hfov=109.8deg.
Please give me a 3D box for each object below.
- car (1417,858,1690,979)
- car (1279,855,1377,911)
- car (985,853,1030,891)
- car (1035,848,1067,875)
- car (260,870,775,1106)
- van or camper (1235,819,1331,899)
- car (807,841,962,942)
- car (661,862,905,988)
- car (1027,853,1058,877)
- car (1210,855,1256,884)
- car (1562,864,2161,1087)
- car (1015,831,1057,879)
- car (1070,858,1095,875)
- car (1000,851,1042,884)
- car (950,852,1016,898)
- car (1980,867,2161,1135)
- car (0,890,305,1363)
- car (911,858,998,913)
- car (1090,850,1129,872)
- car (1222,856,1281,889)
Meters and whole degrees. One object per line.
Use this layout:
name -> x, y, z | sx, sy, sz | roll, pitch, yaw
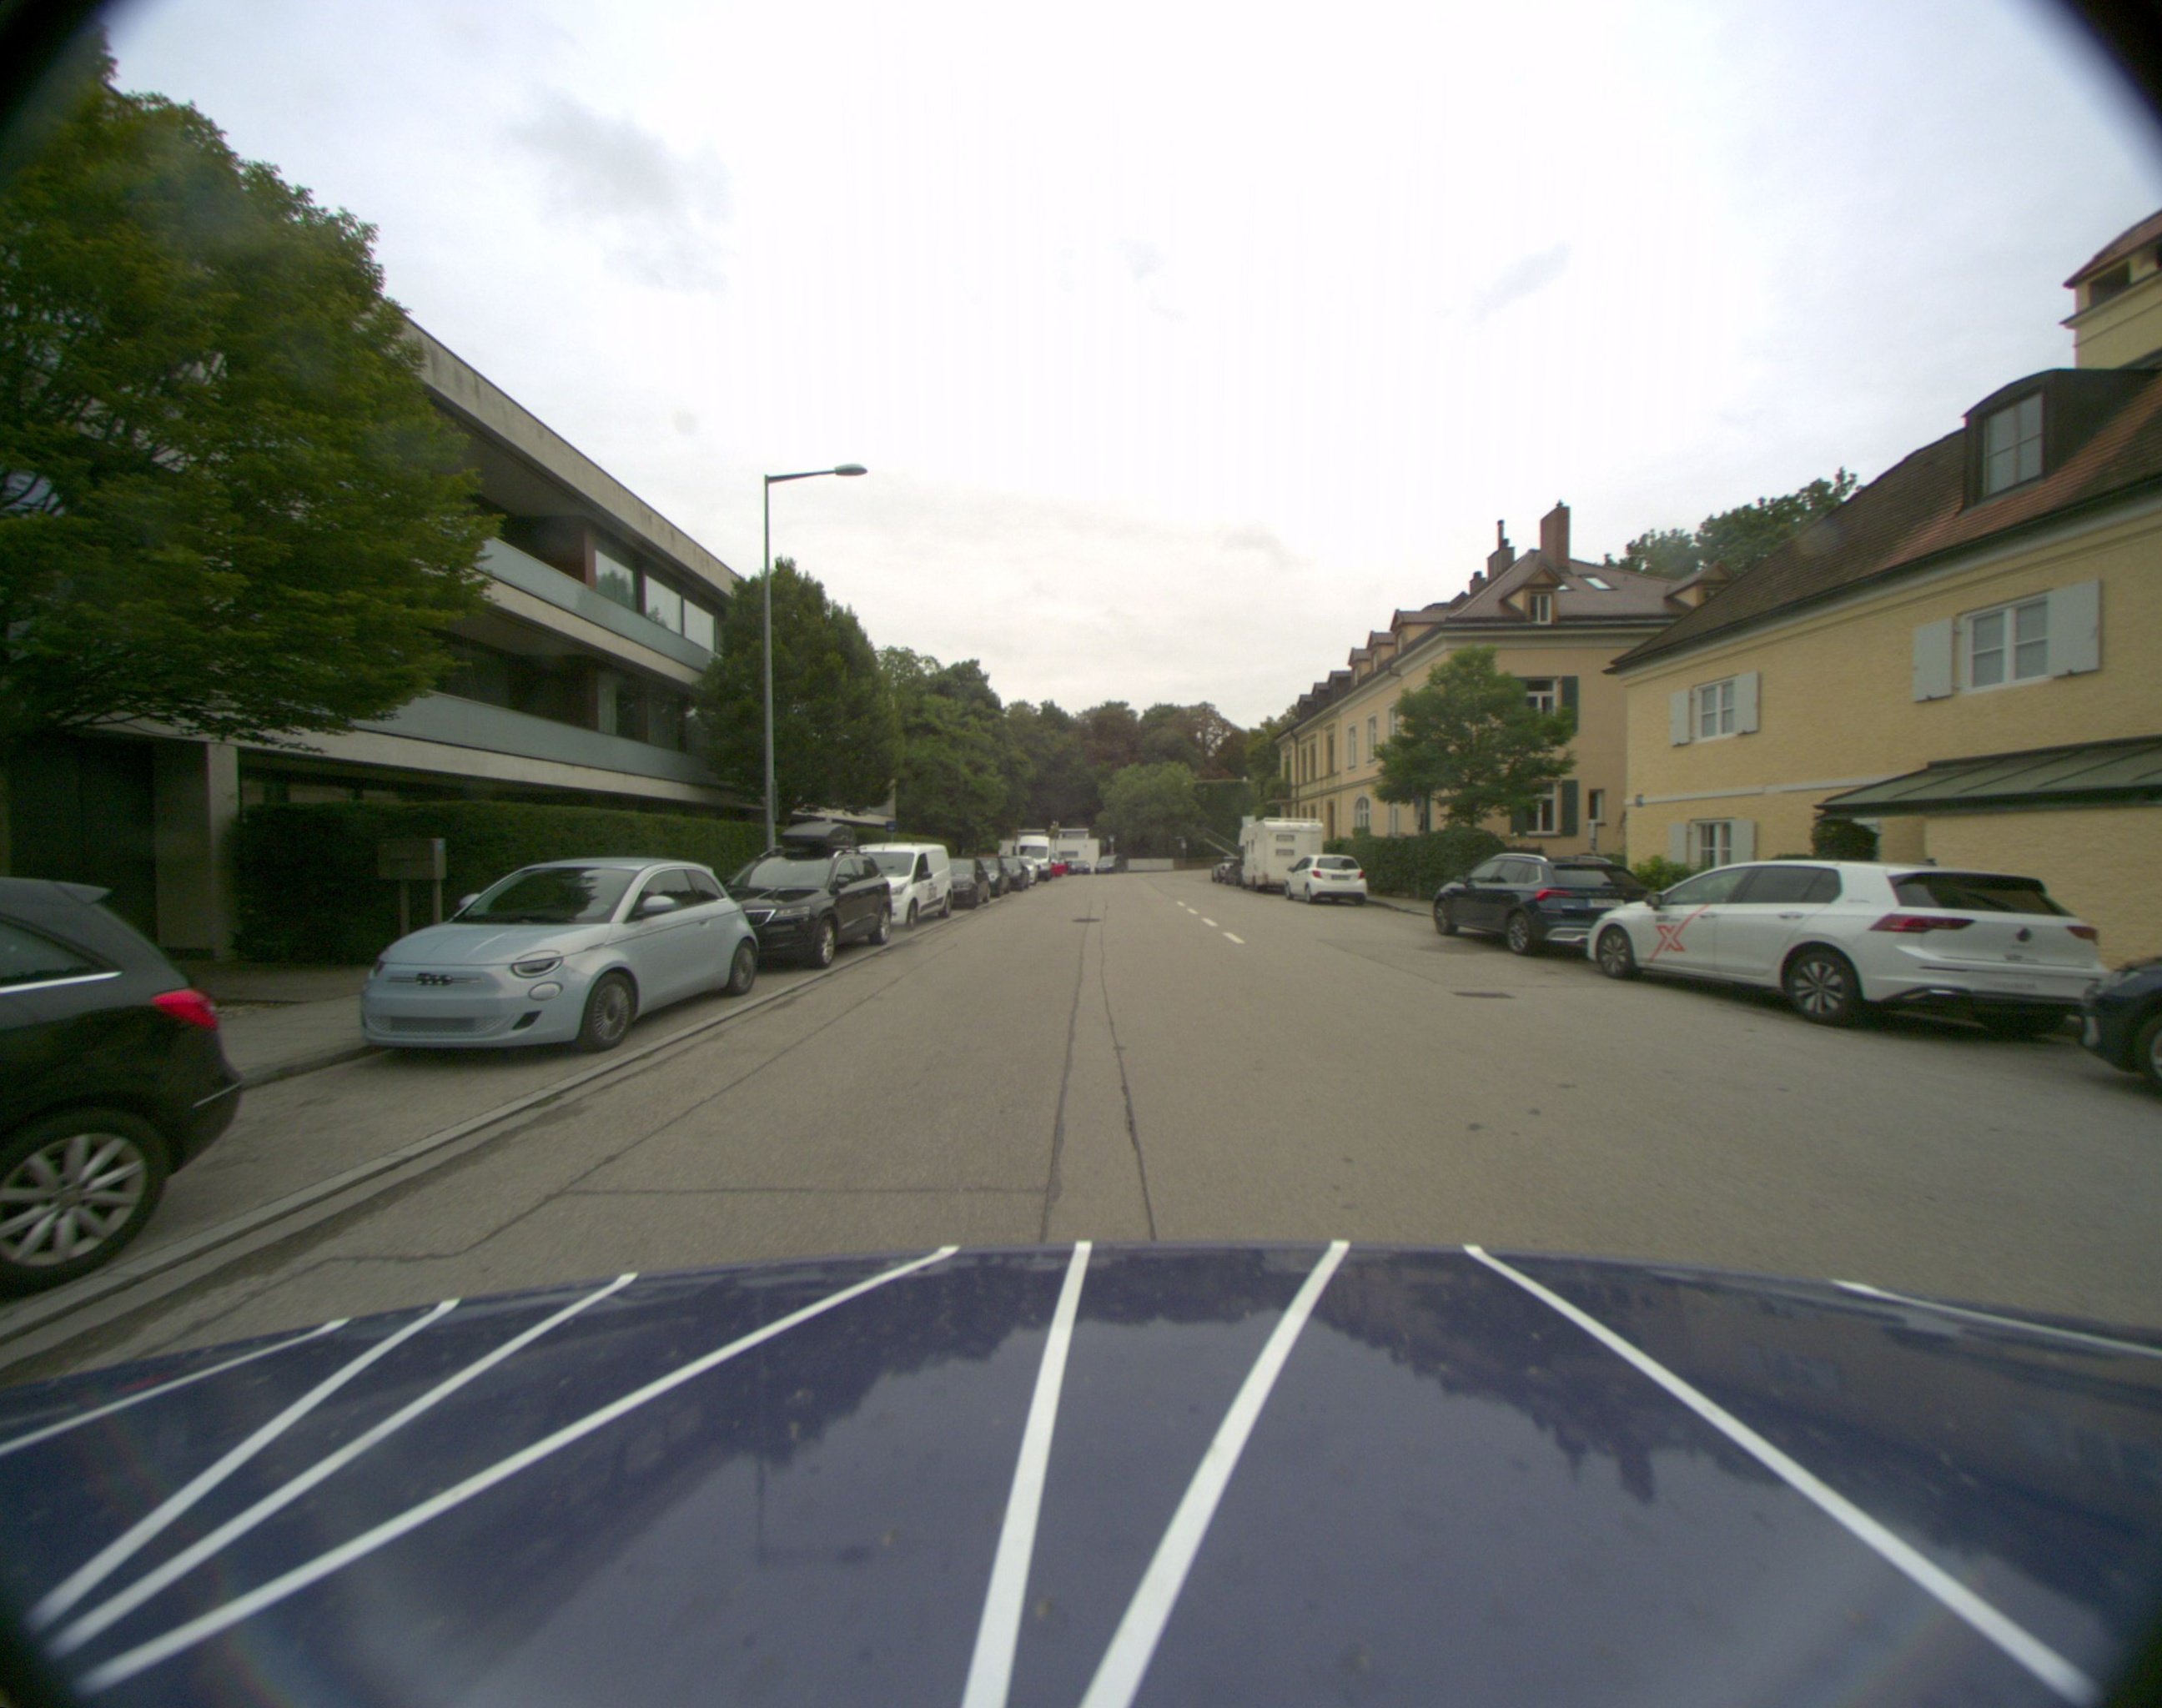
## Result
car -> 7.489, 0.894, 12.696 | 1.849, 1.526, 4.441 | 2, 1, 2
car -> 7.657, 0.843, 23.955 | 1.782, 1.526, 4.228 | 2, 0, 2
car -> -3.167, 0.766, 33.371 | 1.284, 1.497, 5.208 | 2, 0, 2
car -> -2.234, 0.583, 57.732 | 1.939, 1.893, 5.073 | 2, 0, 3
car -> -4.510, 0.930, 6.964 | 1.752, 1.472, 3.888 | 0, 0, 1
van or camper -> 8.246, 0.175, 31.909 | 2.460, 2.923, 7.213 | 1, 0, 3
car -> -4.080, 0.704, 16.722 | 1.826, 1.850, 4.899 | -2, 0, 3
car -> -4.172, 0.897, 11.571 | 1.752, 1.472, 4.598 | -1, 0, 2
car -> -2.612, 0.740, 52.508 | 1.875, 1.498, 4.838 | 2, 0, 0
car -> 8.899, 0.860, 44.812 | 1.940, 1.526, 4.532 | 2, 0, 3
car -> 7.311, 0.929, 7.879 | 1.849, 1.526, 4.522 | 2, 0, 2
car -> -2.651, 0.071, 46.273 | 2.085, 2.670, 6.088 | 2, 0, 0
car -> 0.105, 1.167, 68.818 | 1.897, 1.438, 4.268 | -3, -1, -5
car -> -3.060, 0.687, 39.579 | 1.875, 1.560, 5.001 | 2, -1, -1
car -> -3.529, 0.730, 27.931 | 1.731, 1.520, 4.205 | 1, 0, 2
car -> 7.147, 0.891, 2.962 | 1.850, 1.526, 4.561 | 2, 0, 1
car -> -4.477, 0.947, 1.238 | 1.752, 1.530, 4.569 | -1, 0, -1
car -> -3.652, 0.857, 22.592 | 1.752, 1.455, 4.243 | 0, 0, 2
car -> 2.504, 0.644, 65.357 | 1.996, 1.682, 4.342 | -4, -3, 20
car -> 8.645, 0.872, 38.944 | 1.940, 1.499, 4.822 | 2, 0, 1
